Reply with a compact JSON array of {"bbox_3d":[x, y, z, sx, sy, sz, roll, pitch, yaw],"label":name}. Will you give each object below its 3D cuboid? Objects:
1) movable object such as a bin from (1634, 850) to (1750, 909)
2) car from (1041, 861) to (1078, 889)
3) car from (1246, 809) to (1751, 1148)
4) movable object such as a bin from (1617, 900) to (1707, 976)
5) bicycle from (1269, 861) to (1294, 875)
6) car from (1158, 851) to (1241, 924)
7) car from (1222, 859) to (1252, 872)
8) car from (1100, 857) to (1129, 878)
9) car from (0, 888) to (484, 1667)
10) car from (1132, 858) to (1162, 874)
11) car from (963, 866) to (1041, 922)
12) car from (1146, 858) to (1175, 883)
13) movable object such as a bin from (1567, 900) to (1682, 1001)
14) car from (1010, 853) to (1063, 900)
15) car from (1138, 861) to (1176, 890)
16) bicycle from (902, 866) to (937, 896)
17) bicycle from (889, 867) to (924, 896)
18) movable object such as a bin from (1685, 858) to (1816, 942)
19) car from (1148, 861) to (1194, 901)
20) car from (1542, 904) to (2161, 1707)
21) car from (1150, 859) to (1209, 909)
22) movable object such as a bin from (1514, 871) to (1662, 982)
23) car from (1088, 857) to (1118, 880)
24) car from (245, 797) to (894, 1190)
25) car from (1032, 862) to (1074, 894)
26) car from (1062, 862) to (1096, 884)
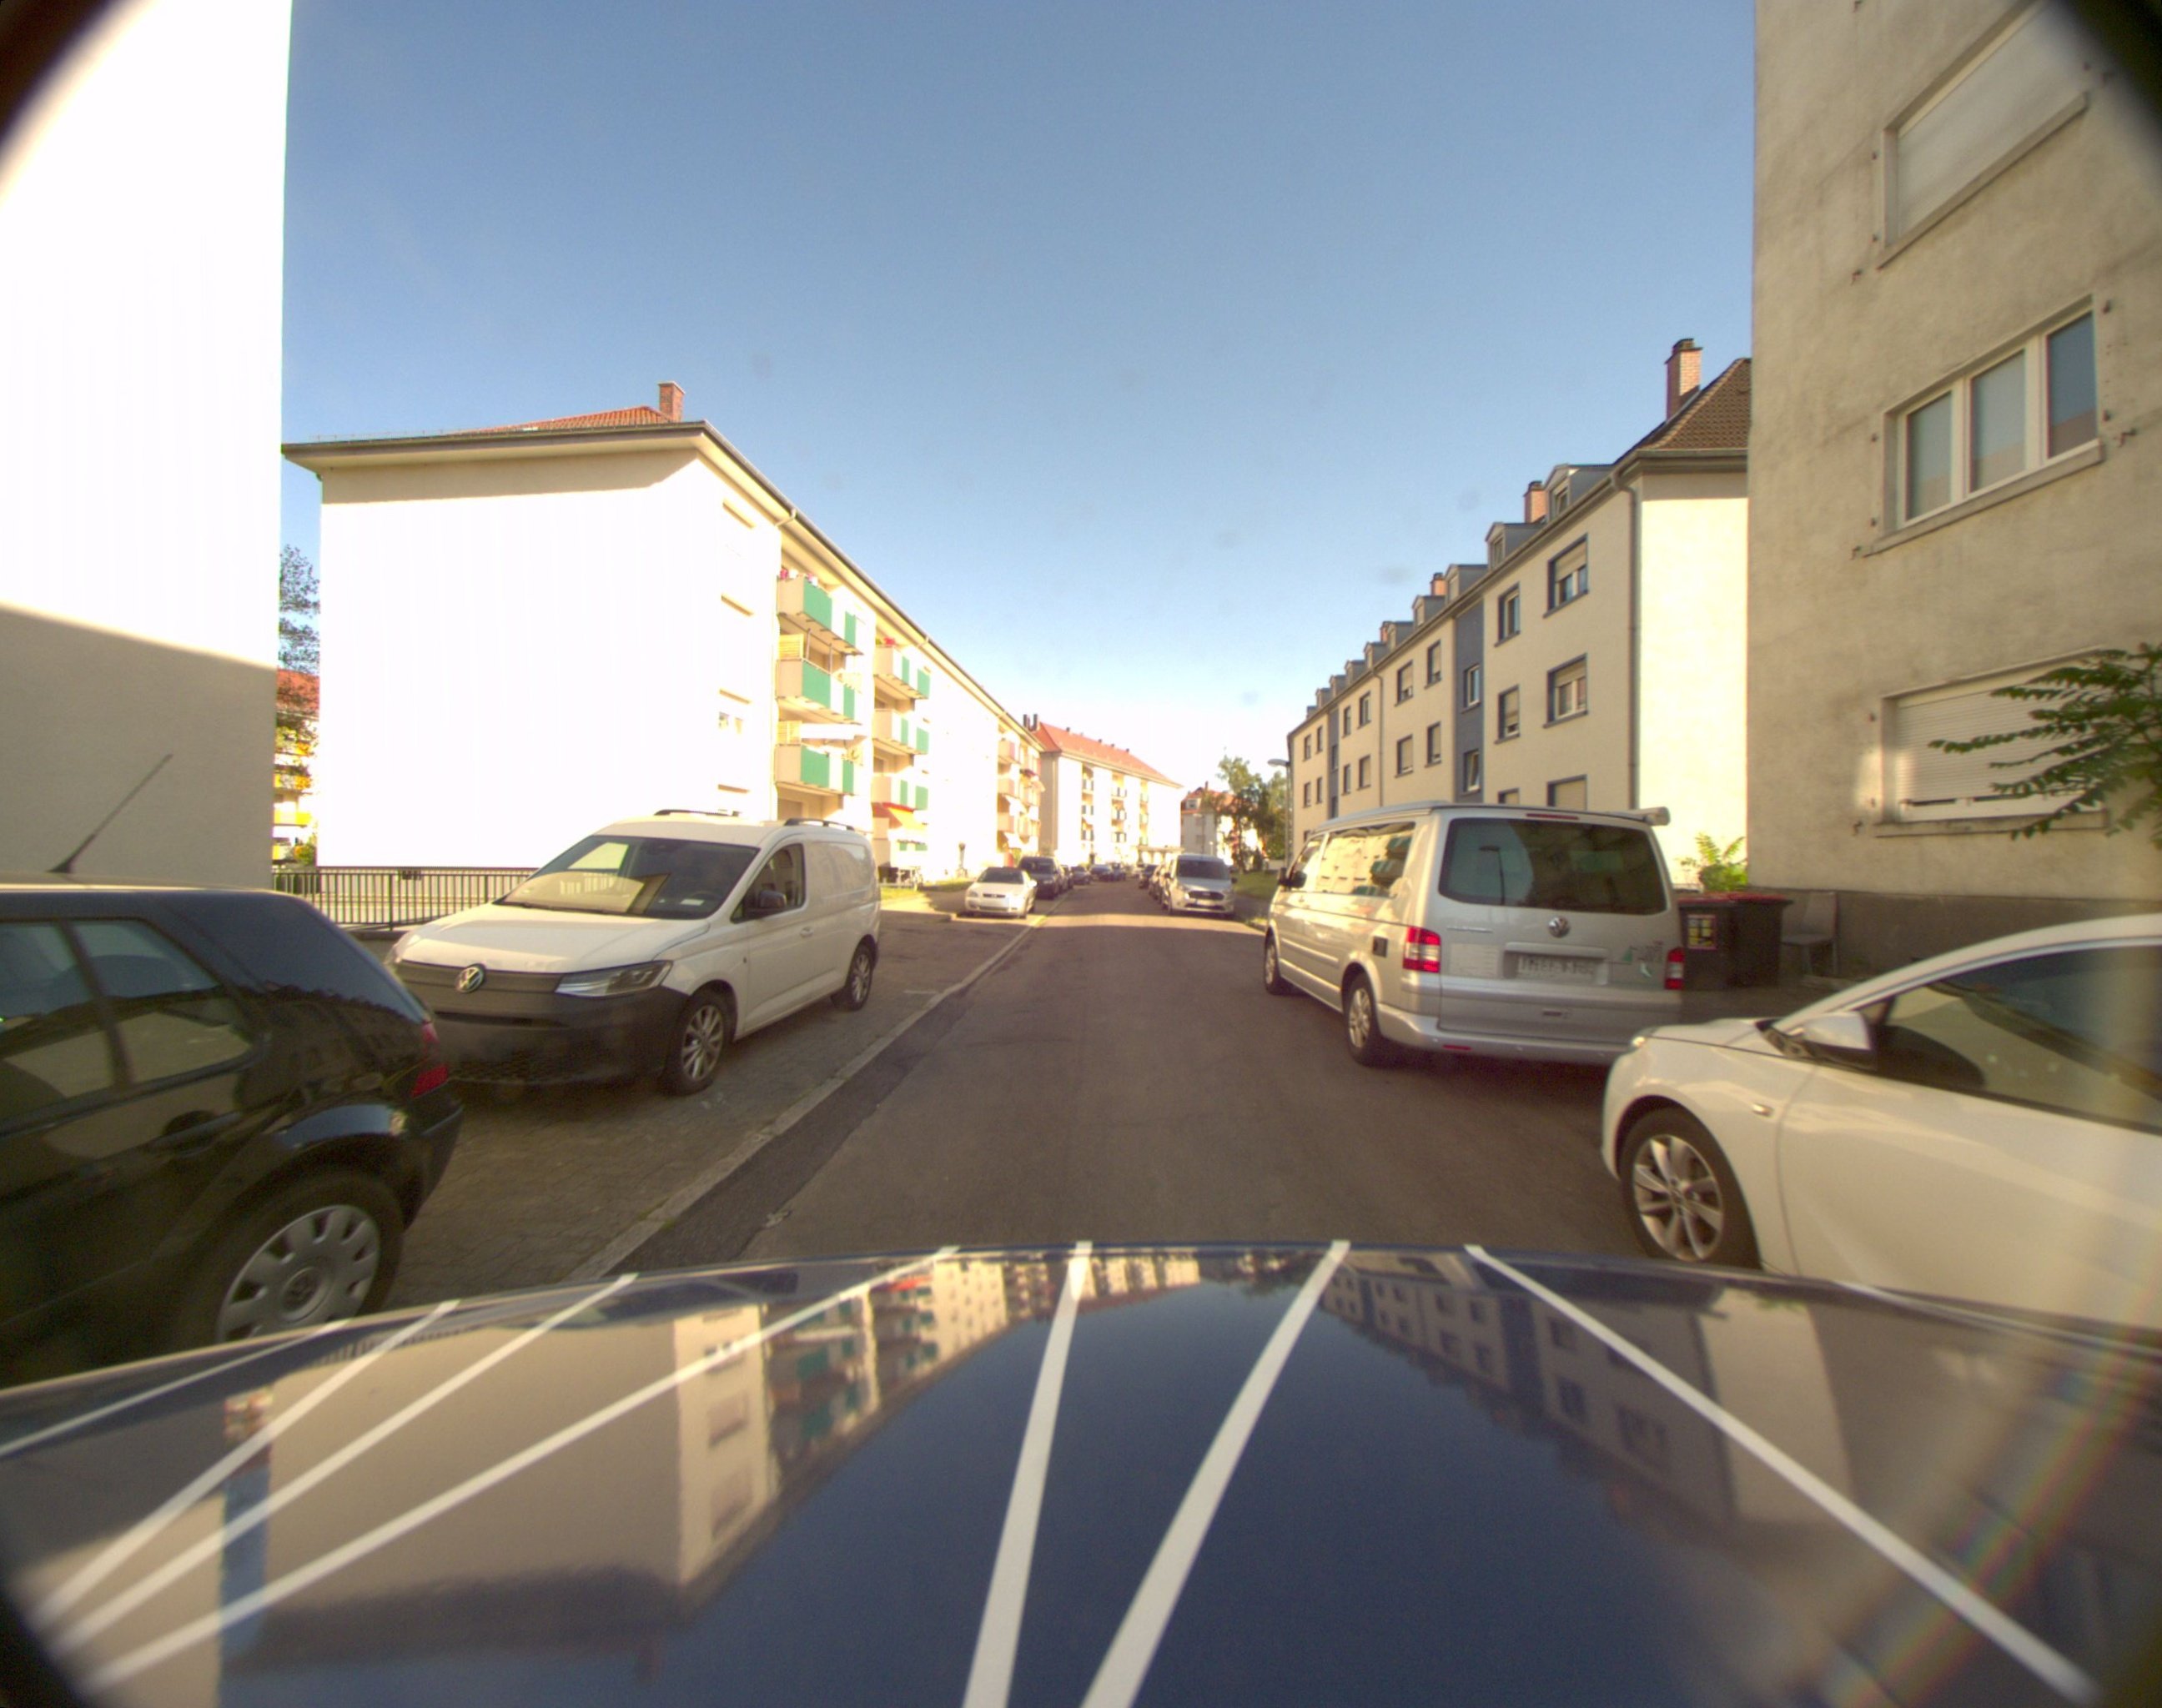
[{"bbox_3d":[11.095,0.446,13.856,1.132,0.994,1.204,1,1,2],"label":"movable object such as a bin"},{"bbox_3d":[-1.166,1.128,42.889,1.667,1.440,3.861,2,0,5],"label":"car"},{"bbox_3d":[2.972,0.744,6.893,1.955,1.922,4.857,2,0,2],"label":"car"},{"bbox_3d":[7.903,1.133,10.360,0.774,0.969,0.591,-1,0,2],"label":"movable object such as a bin"},{"bbox_3d":[15.215,1.088,57.611,1.733,0.984,0.463,-3,0,16],"label":"bicycle"},{"bbox_3d":[3.373,0.895,22.451,1.804,1.819,4.950,3,0,3],"label":"car"},{"bbox_3d":[18.677,1.390,90.732,1.571,1.417,3.988,3,0,42],"label":"car"},{"bbox_3d":[3.019,1.192,67.412,1.755,1.724,4.005,-4,-2,14],"label":"car"},{"bbox_3d":[-3.019,0.849,0.584,1.802,1.406,4.049,3,0,2],"label":"car"},{"bbox_3d":[6.926,1.248,79.504,1.754,1.625,4.413,2,0,22],"label":"car"},{"bbox_3d":[-2.186,1.088,22.186,1.746,1.398,4.314,2,0,1],"label":"car"},{"bbox_3d":[5.258,1.054,50.141,1.745,1.507,3.985,3,0,7],"label":"car"},{"bbox_3d":[6.357,1.109,8.930,0.774,1.073,0.816,-1,0,2],"label":"movable object such as a bin"},{"bbox_3d":[-1.834,0.923,32.854,1.763,1.829,4.920,2,0,2],"label":"car"},{"bbox_3d":[4.284,1.164,43.404,1.904,1.450,4.397,3,0,4],"label":"car"},{"bbox_3d":[-6.140,1.014,28.993,0.506,1.086,2.076,-1,0,10],"label":"bicycle"},{"bbox_3d":[-6.680,1.045,29.131,0.506,1.038,2.076,-1,0,10],"label":"bicycle"},{"bbox_3d":[12.302,0.810,14.037,1.132,1.425,1.437,1,1,2],"label":"movable object such as a bin"},{"bbox_3d":[3.827,1.123,32.861,1.647,1.510,3.703,4,0,3],"label":"car"},{"bbox_3d":[2.829,0.964,1.500,1.690,1.450,3.722,2,0,3],"label":"car"},{"bbox_3d":[3.605,1.057,28.335,1.677,1.582,4.165,4,0,2],"label":"car"},{"bbox_3d":[6.644,0.924,10.038,1.258,1.368,1.045,-1,0,2],"label":"movable object such as a bin"},{"bbox_3d":[1.861,1.162,62.219,1.580,1.752,4.243,2,0,13],"label":"car"},{"bbox_3d":[-3.110,0.694,6.020,1.801,1.835,4.541,3,0,4],"label":"car"},{"bbox_3d":[-1.345,1.143,37.821,1.643,1.450,3.861,2,0,5],"label":"car"},{"bbox_3d":[-0.103,1.259,51.795,1.676,1.411,3.863,2,0,9],"label":"car"}]
